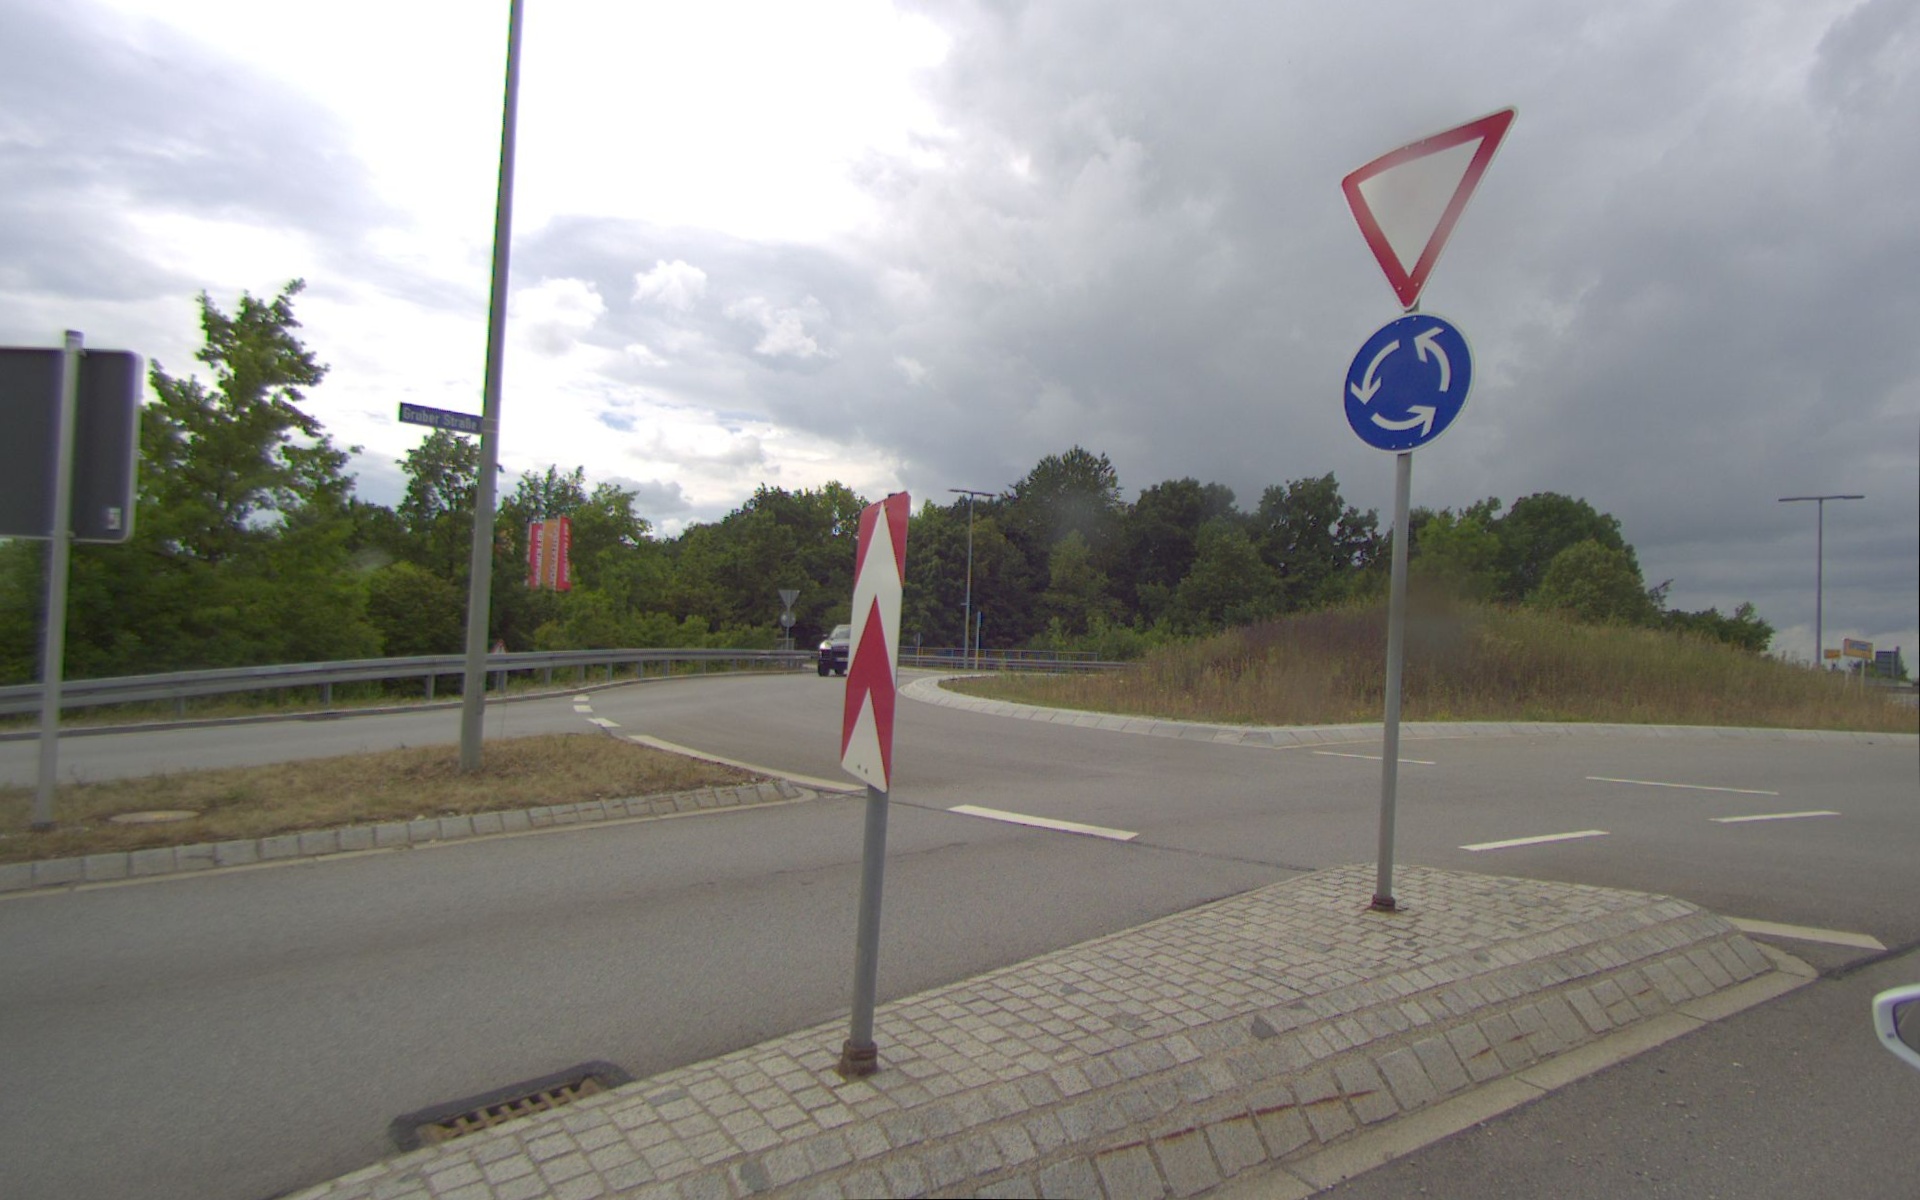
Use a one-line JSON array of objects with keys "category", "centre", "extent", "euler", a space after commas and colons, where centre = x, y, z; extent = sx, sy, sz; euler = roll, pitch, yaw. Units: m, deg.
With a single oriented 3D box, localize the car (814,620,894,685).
[{"category": "car", "centre": [-3.463, 1.685, 33.649], "extent": [2.064, 1.814, 5.051], "euler": [3, 0, 0]}]
